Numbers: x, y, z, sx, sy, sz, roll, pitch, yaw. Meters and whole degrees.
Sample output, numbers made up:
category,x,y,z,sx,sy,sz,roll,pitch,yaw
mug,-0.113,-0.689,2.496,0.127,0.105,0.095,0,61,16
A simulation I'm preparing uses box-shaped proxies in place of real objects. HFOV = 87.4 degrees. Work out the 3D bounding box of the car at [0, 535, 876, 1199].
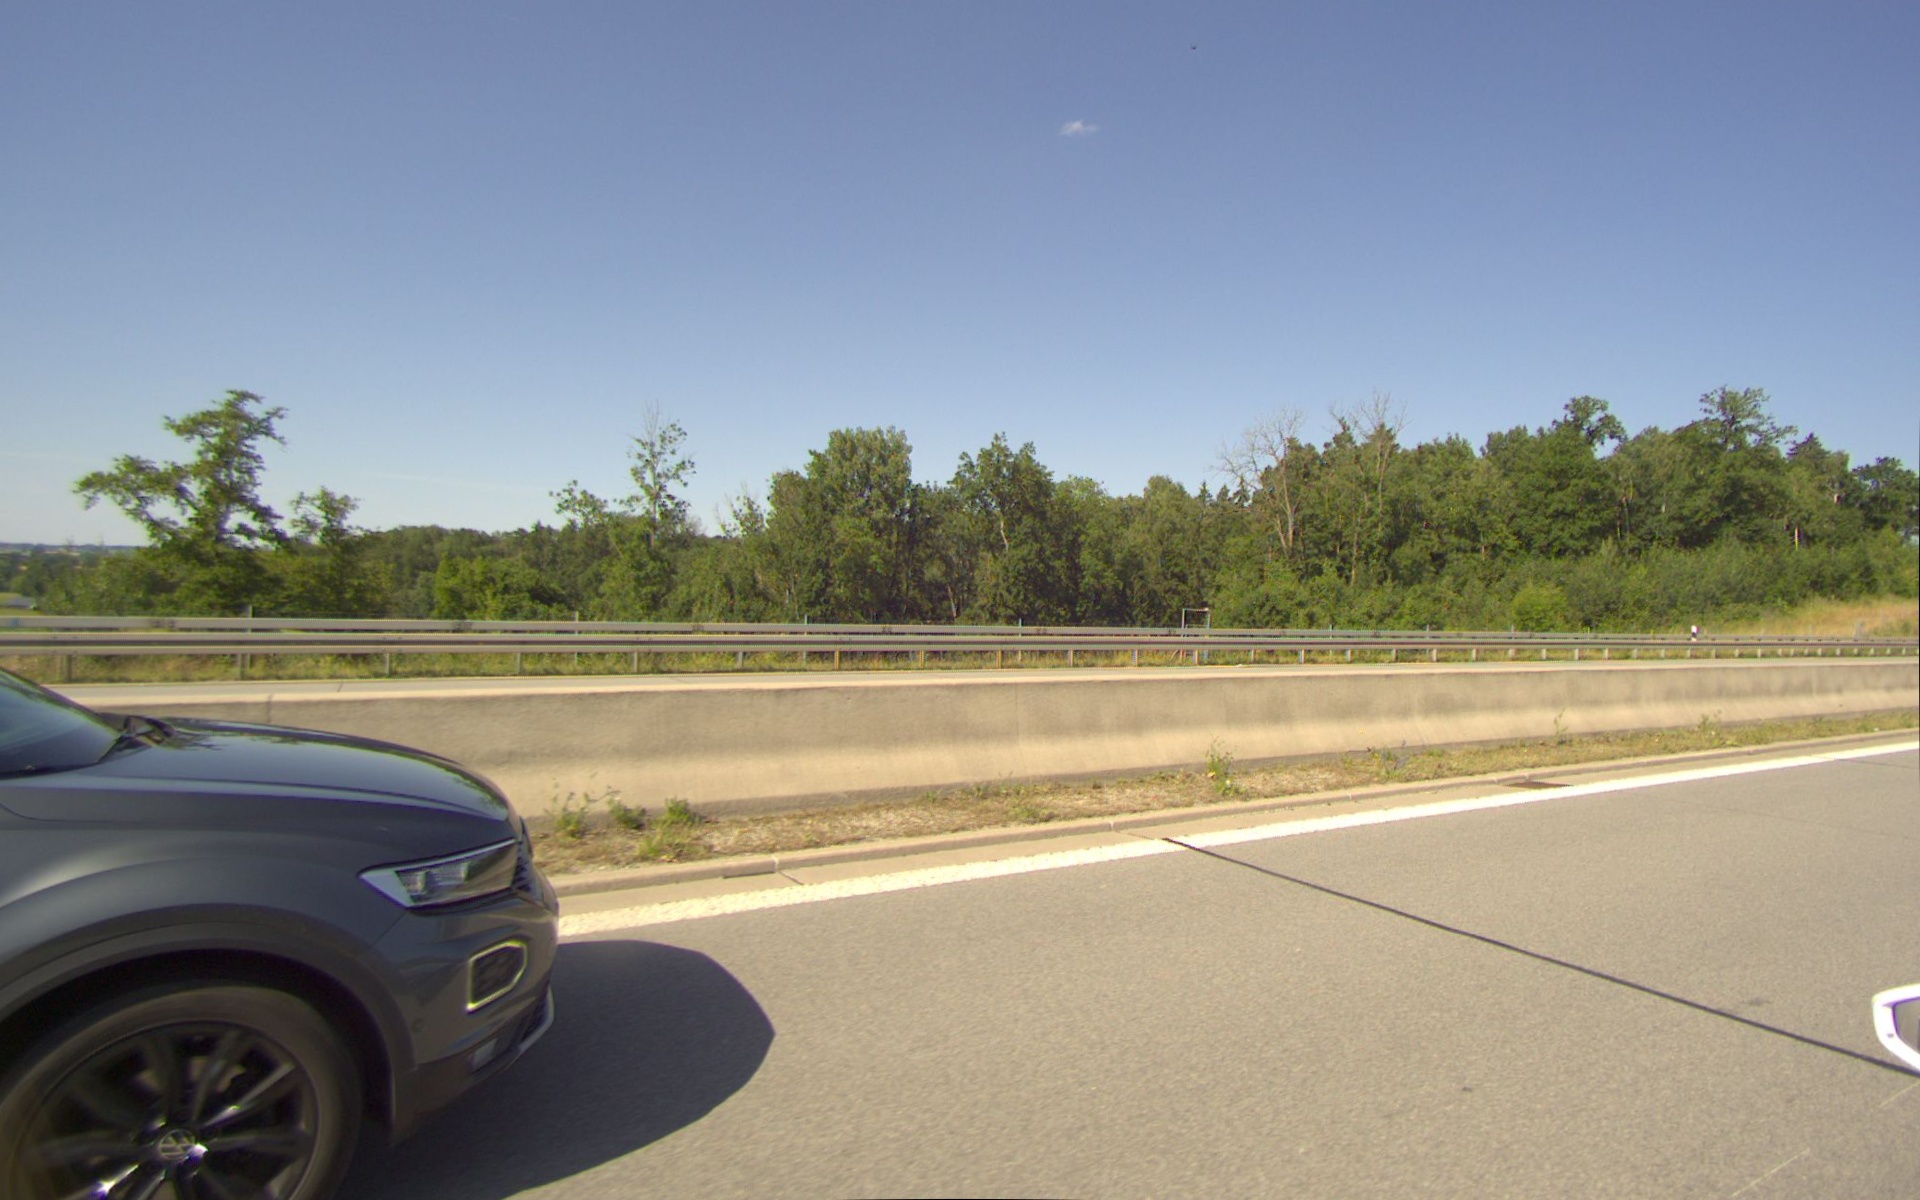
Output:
category,x,y,z,sx,sy,sz,roll,pitch,yaw
car,-2.799,0.653,2.260,4.931,1.590,1.763,1,0,-31
